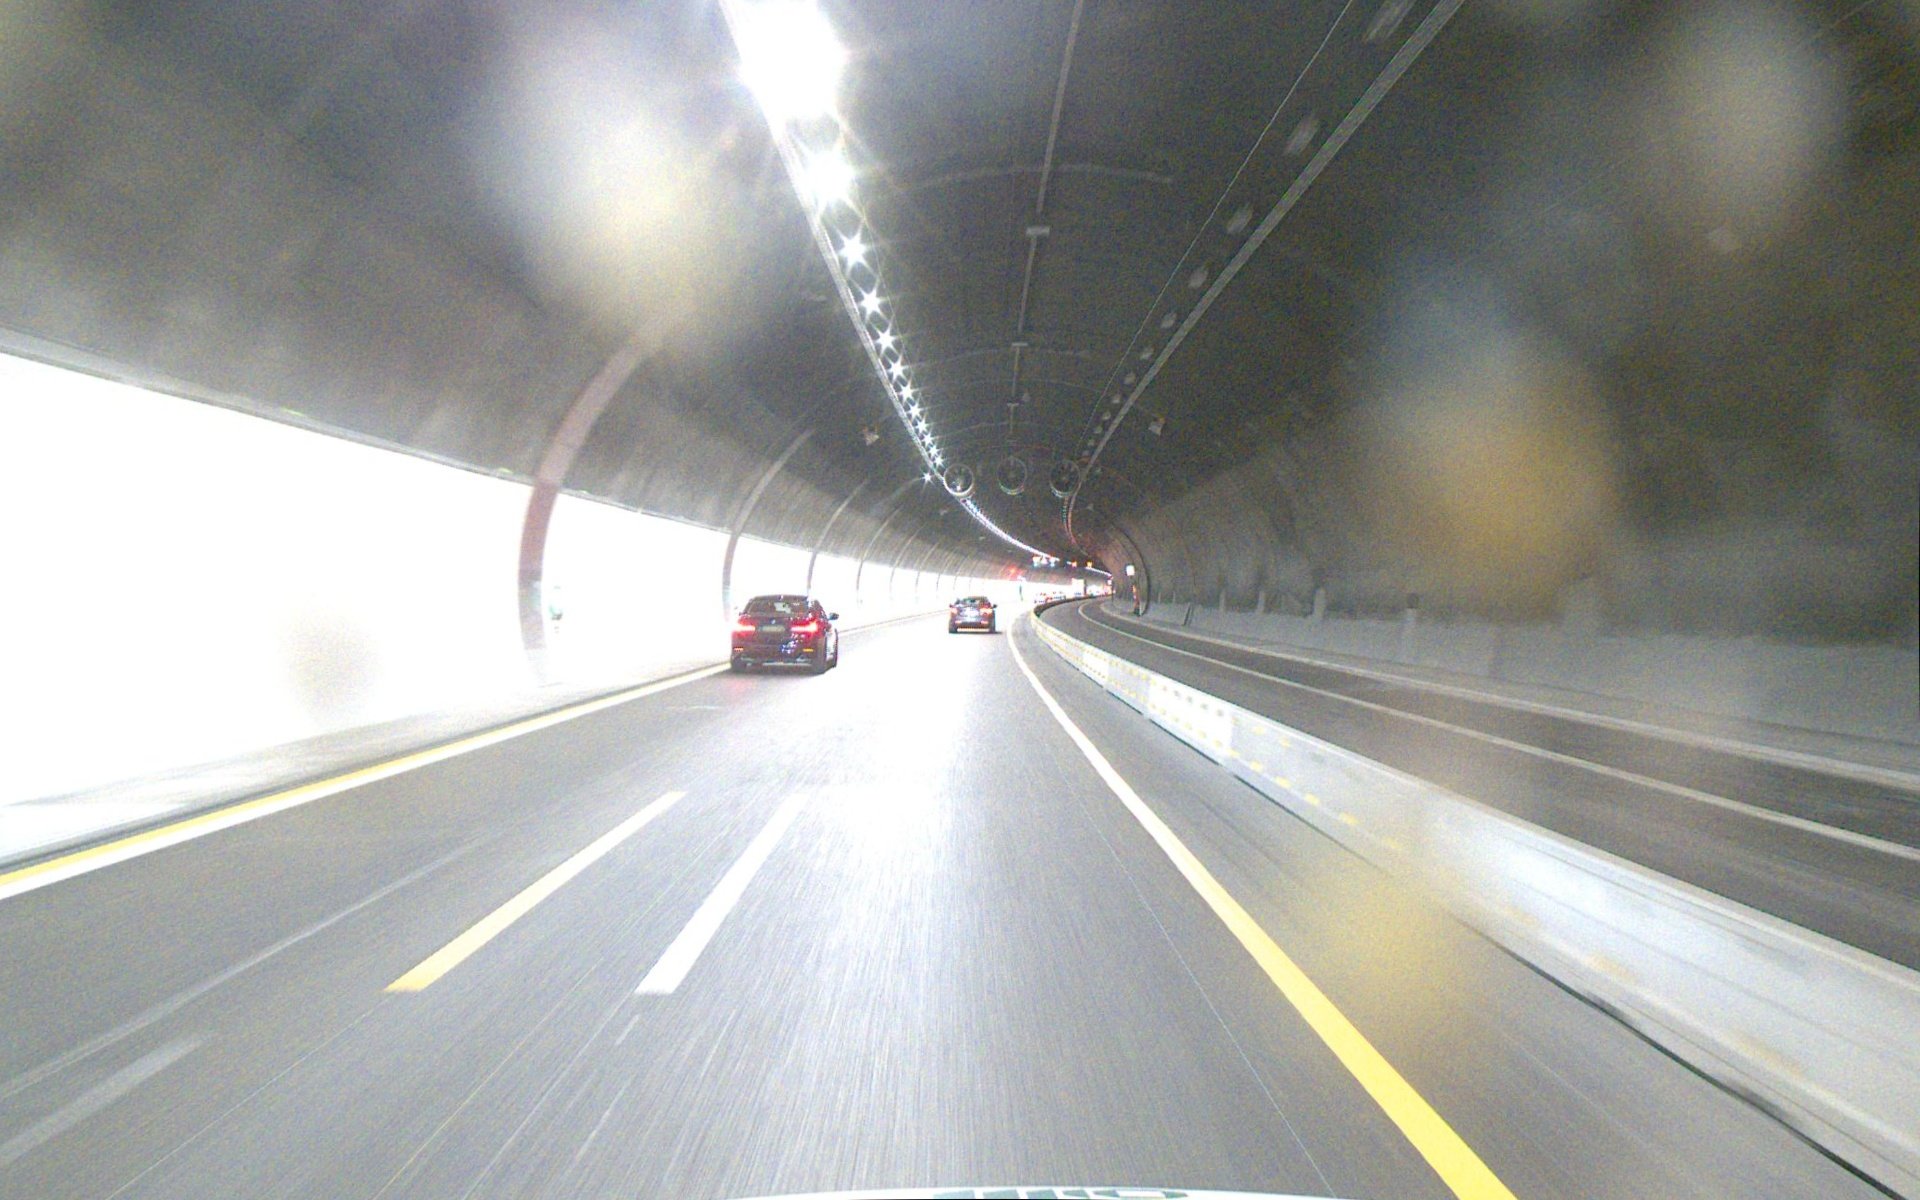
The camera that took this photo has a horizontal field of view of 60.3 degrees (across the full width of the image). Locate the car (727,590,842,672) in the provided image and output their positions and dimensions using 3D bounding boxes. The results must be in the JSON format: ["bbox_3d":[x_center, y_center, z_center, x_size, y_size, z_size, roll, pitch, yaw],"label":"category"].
[{"bbox_3d":[-3.393,0.566,32.706,1.741,1.463,4.882,1,0,0],"label":"car"}]

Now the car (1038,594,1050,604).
[{"bbox_3d":[11.326,-0.125,223.103,1.561,1.356,3.752,1,0,4],"label":"car"}]

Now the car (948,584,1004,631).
[{"bbox_3d":[0.666,0.277,65.169,2.096,1.735,4.001,1,0,2],"label":"car"}]
